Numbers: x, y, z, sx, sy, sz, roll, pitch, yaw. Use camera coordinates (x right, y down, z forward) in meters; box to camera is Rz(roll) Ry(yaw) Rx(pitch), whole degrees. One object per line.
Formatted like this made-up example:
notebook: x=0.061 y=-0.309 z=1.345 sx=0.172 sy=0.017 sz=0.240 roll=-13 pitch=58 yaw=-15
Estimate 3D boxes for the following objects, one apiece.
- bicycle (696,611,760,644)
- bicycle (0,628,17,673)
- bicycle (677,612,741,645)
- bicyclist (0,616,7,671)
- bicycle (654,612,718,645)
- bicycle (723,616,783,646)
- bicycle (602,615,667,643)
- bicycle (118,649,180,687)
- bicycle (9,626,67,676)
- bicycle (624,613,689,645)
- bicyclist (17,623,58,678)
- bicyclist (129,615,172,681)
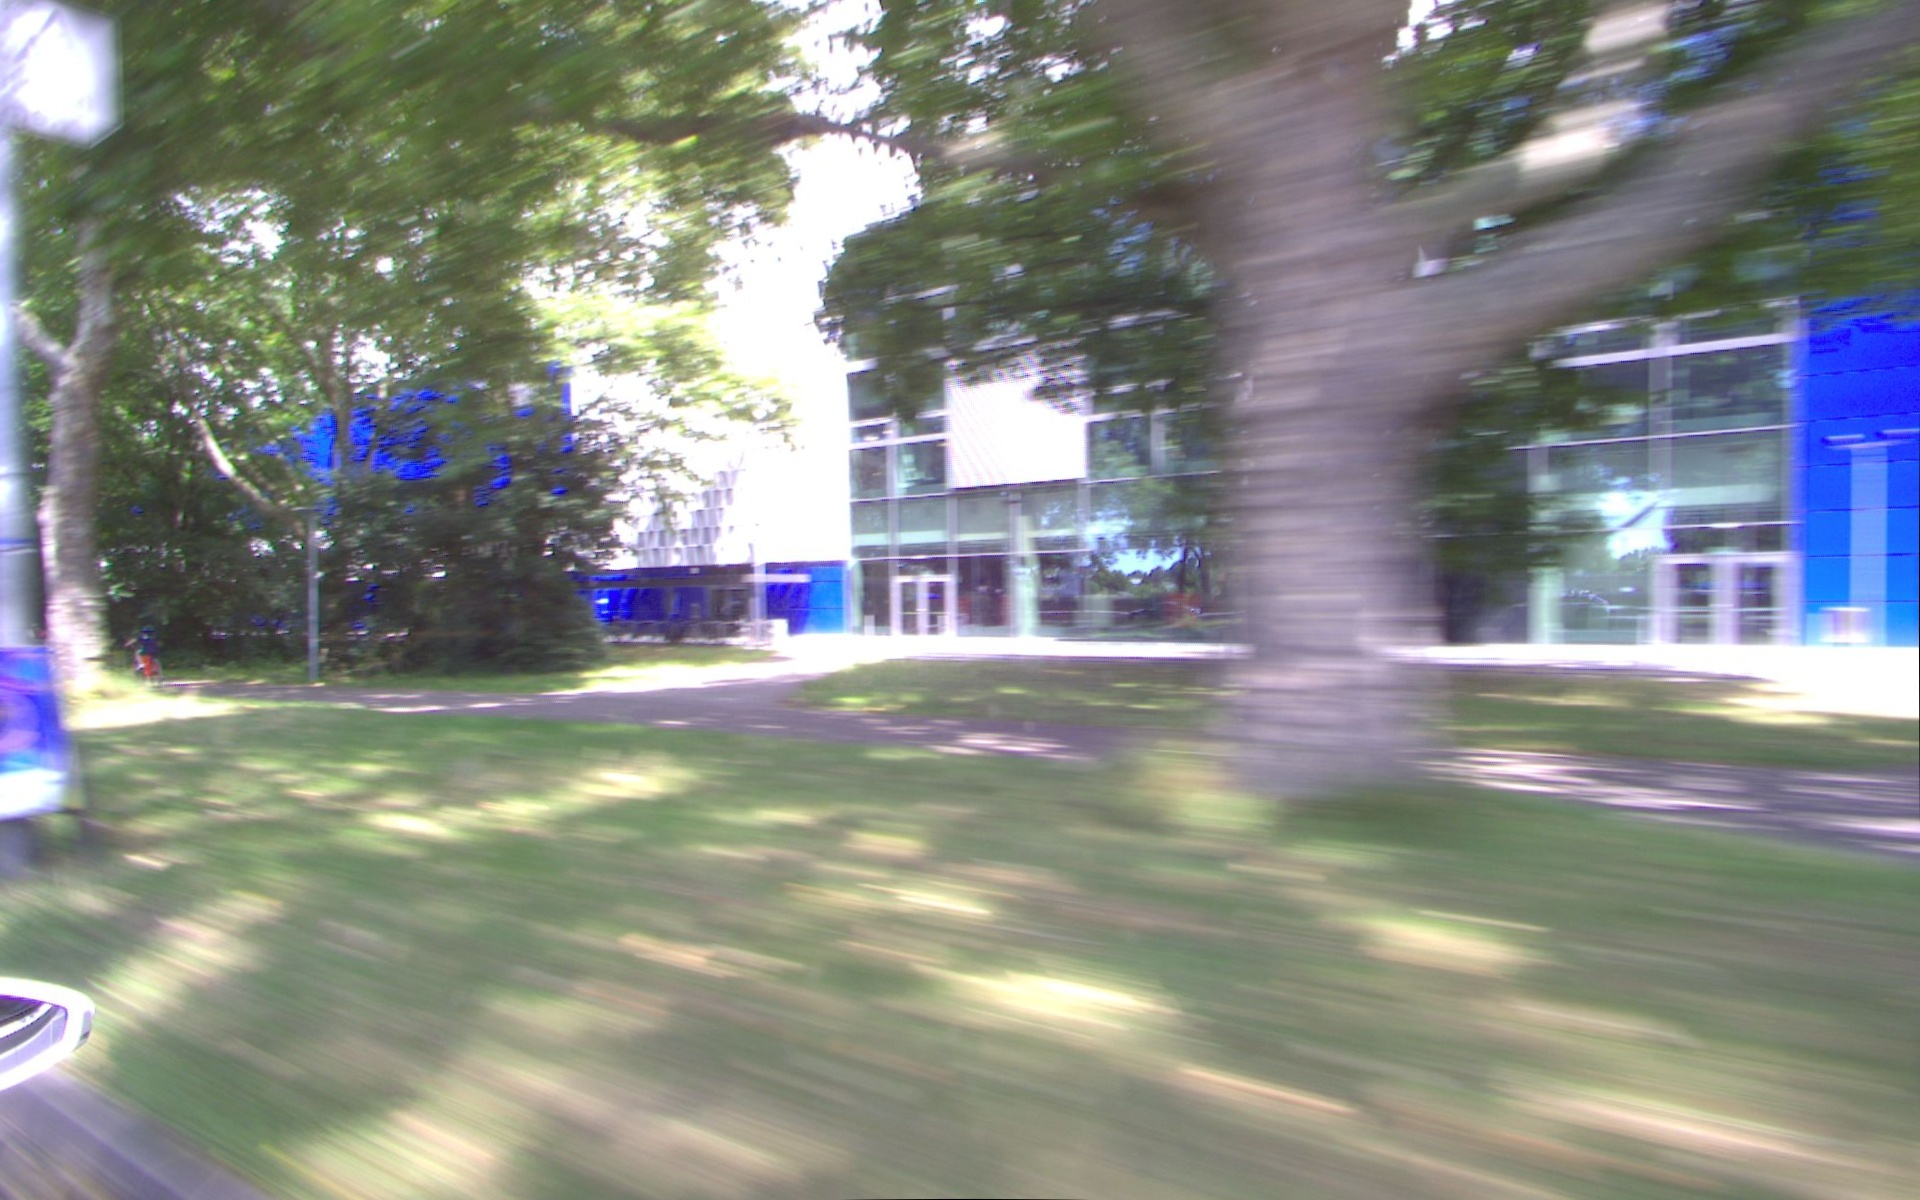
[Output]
bicycle: x=-8.264 y=0.977 z=35.848 sx=0.747 sy=1.125 sz=2.543 roll=-1 pitch=0 yaw=28
bicycle: x=-31.494 y=1.628 z=32.522 sx=2.624 sy=1.438 sz=0.609 roll=-1 pitch=0 yaw=32
bicycle: x=-9.106 y=1.007 z=36.458 sx=0.747 sy=1.125 sz=2.543 roll=-1 pitch=0 yaw=28
bicyclist: x=-31.580 y=1.424 z=32.610 sx=0.831 sy=1.769 sz=0.596 roll=0 pitch=0 yaw=32
bicycle: x=-10.074 y=1.033 z=36.921 sx=0.747 sy=1.125 sz=2.543 roll=-1 pitch=0 yaw=28
bicycle: x=-7.242 y=1.074 z=35.116 sx=0.747 sy=0.973 sz=2.314 roll=-1 pitch=0 yaw=28
bicycle: x=-12.369 y=1.097 z=38.117 sx=0.747 sy=0.983 sz=2.543 roll=-1 pitch=0 yaw=28
bicycle: x=-20.368 y=1.692 z=25.134 sx=1.995 sy=0.898 sz=0.643 roll=-1 pitch=0 yaw=34
bicycle: x=-27.818 y=1.509 z=30.184 sx=2.624 sy=1.438 sz=0.609 roll=-1 pitch=0 yaw=32
bicycle: x=-11.282 y=1.060 z=37.382 sx=0.747 sy=1.125 sz=2.543 roll=-1 pitch=0 yaw=28
bicyclist: x=-27.753 y=1.501 z=30.137 sx=1.038 sy=1.620 sz=0.657 roll=-1 pitch=0 yaw=33
bicyclist: x=-20.362 y=1.200 z=25.177 sx=0.805 sy=1.631 sz=0.621 roll=0 pitch=0 yaw=34
